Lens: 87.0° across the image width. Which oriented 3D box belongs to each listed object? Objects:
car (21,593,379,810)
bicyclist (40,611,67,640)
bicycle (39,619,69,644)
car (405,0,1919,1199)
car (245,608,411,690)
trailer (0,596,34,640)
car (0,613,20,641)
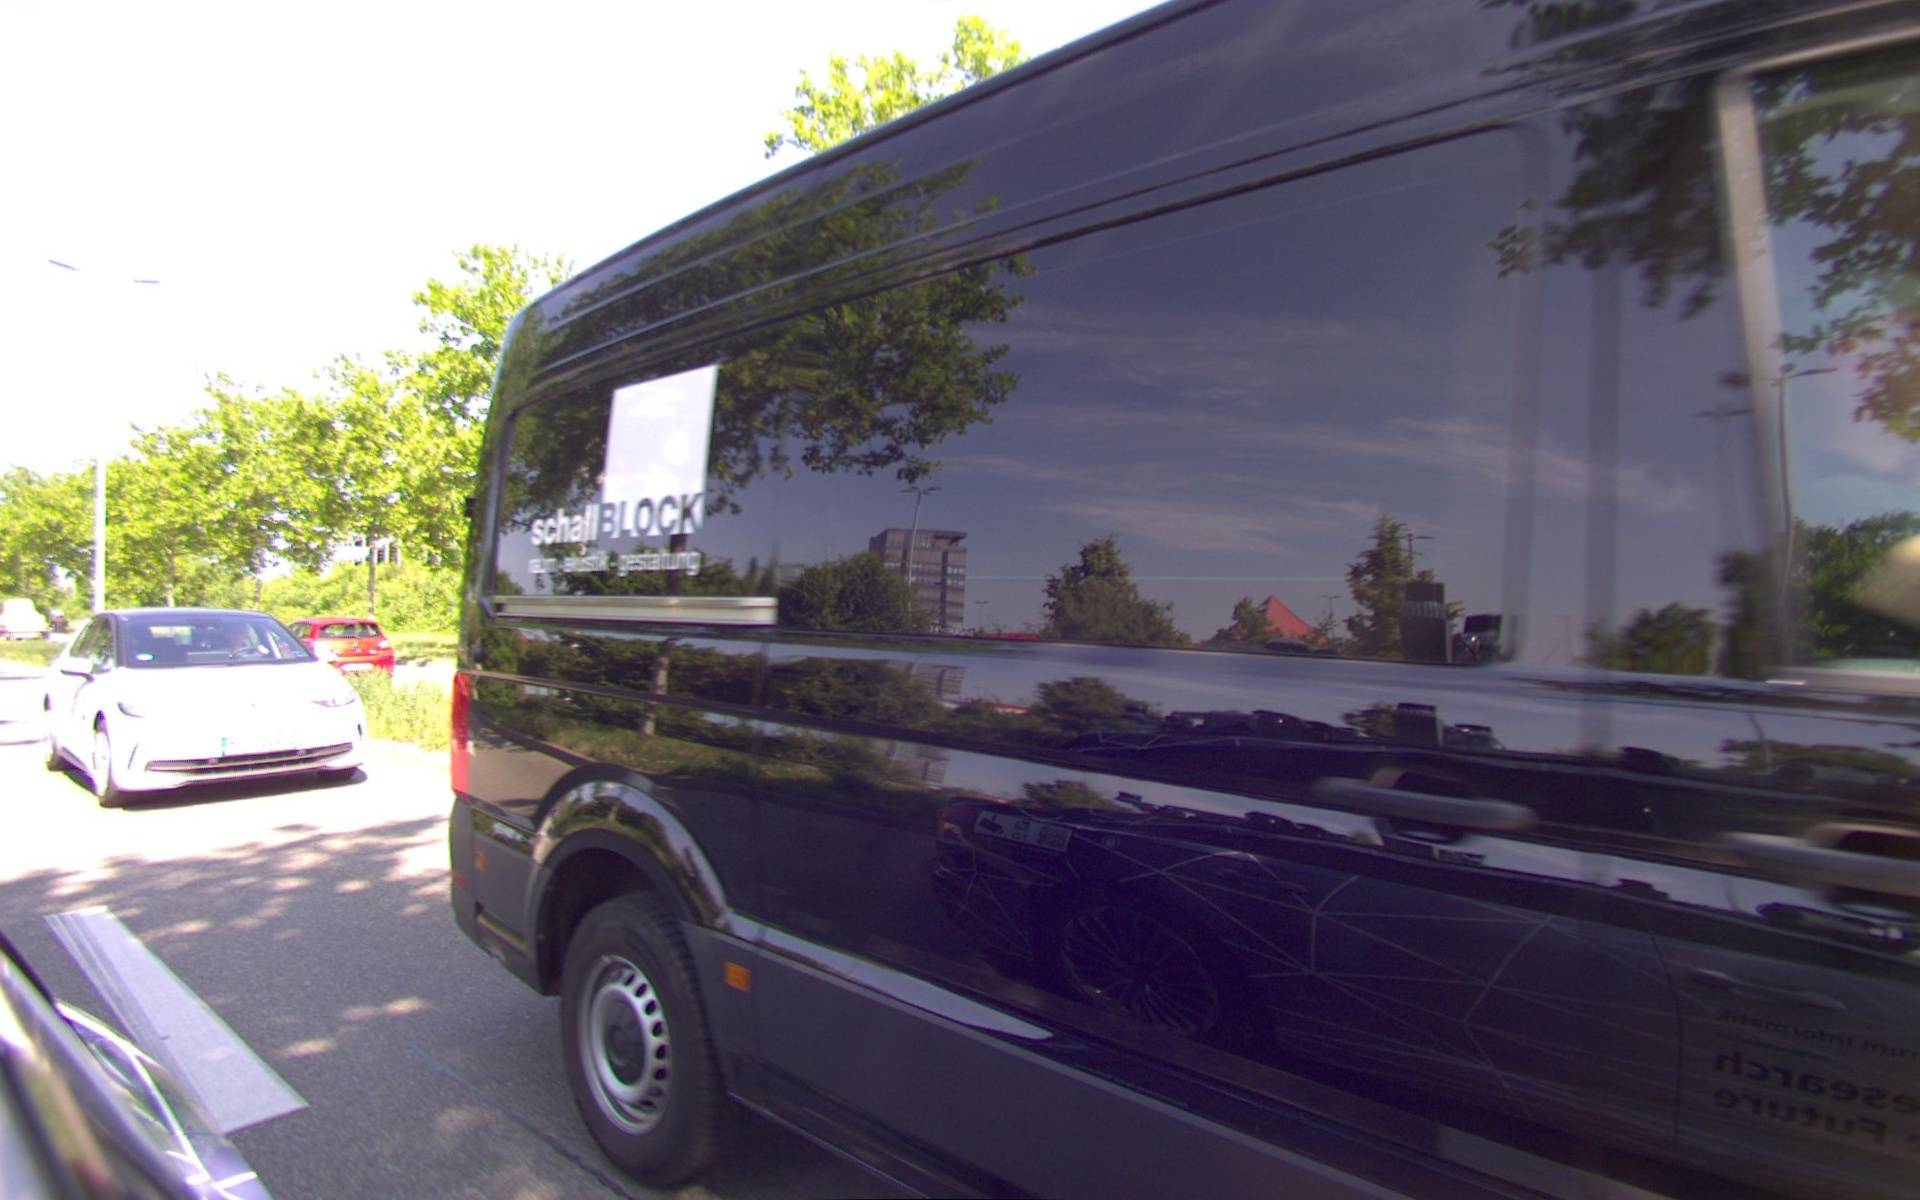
[{"bbox_3d":[-7.073,0.746,9.255,4.206,1.533,1.800,-1,-1,41],"label":"car"},{"bbox_3d":[-39.113,1.085,43.668,1.101,1.200,0.720,-1,0,41],"label":"bicyclist"},{"bbox_3d":[-39.022,1.363,43.569,2.216,1.037,0.720,-2,0,42],"label":"bicycle"},{"bbox_3d":[1.071,0.073,2.118,6.166,2.627,1.994,0,0,42],"label":"car"},{"bbox_3d":[-13.713,0.987,21.874,4.171,1.595,1.835,-1,-1,40],"label":"car"},{"bbox_3d":[-62.420,1.141,66.371,4.824,2.764,1.861,0,0,40],"label":"trailer"},{"bbox_3d":[-66.248,1.825,69.572,5.371,1.803,1.747,0,0,40],"label":"car"}]
